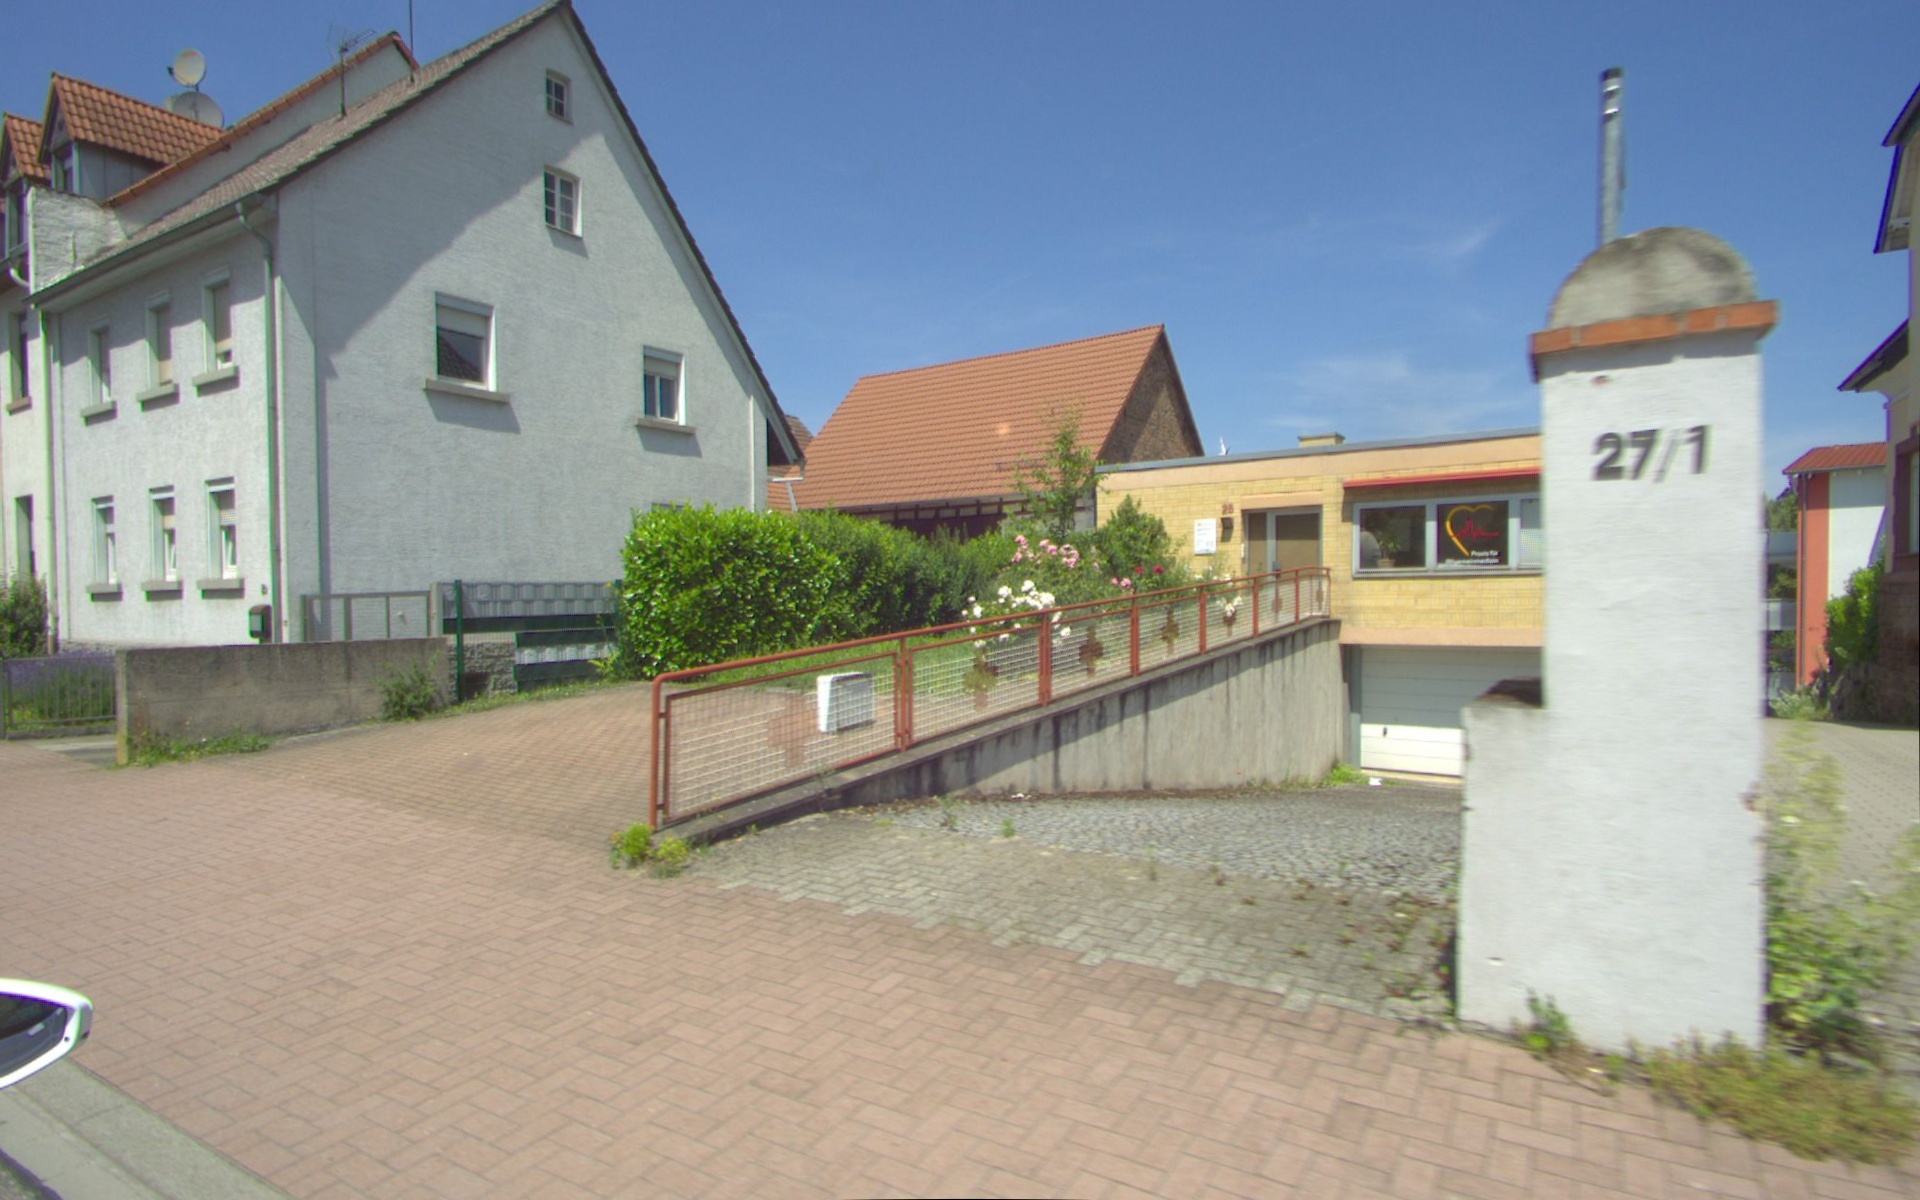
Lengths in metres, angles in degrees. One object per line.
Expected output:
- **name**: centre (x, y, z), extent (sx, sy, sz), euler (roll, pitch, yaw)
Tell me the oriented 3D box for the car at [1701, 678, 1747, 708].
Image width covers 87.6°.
- **car**: centre (41.938, 5.085, 54.948), extent (1.887, 1.459, 3.902), euler (-1, -4, 39)
